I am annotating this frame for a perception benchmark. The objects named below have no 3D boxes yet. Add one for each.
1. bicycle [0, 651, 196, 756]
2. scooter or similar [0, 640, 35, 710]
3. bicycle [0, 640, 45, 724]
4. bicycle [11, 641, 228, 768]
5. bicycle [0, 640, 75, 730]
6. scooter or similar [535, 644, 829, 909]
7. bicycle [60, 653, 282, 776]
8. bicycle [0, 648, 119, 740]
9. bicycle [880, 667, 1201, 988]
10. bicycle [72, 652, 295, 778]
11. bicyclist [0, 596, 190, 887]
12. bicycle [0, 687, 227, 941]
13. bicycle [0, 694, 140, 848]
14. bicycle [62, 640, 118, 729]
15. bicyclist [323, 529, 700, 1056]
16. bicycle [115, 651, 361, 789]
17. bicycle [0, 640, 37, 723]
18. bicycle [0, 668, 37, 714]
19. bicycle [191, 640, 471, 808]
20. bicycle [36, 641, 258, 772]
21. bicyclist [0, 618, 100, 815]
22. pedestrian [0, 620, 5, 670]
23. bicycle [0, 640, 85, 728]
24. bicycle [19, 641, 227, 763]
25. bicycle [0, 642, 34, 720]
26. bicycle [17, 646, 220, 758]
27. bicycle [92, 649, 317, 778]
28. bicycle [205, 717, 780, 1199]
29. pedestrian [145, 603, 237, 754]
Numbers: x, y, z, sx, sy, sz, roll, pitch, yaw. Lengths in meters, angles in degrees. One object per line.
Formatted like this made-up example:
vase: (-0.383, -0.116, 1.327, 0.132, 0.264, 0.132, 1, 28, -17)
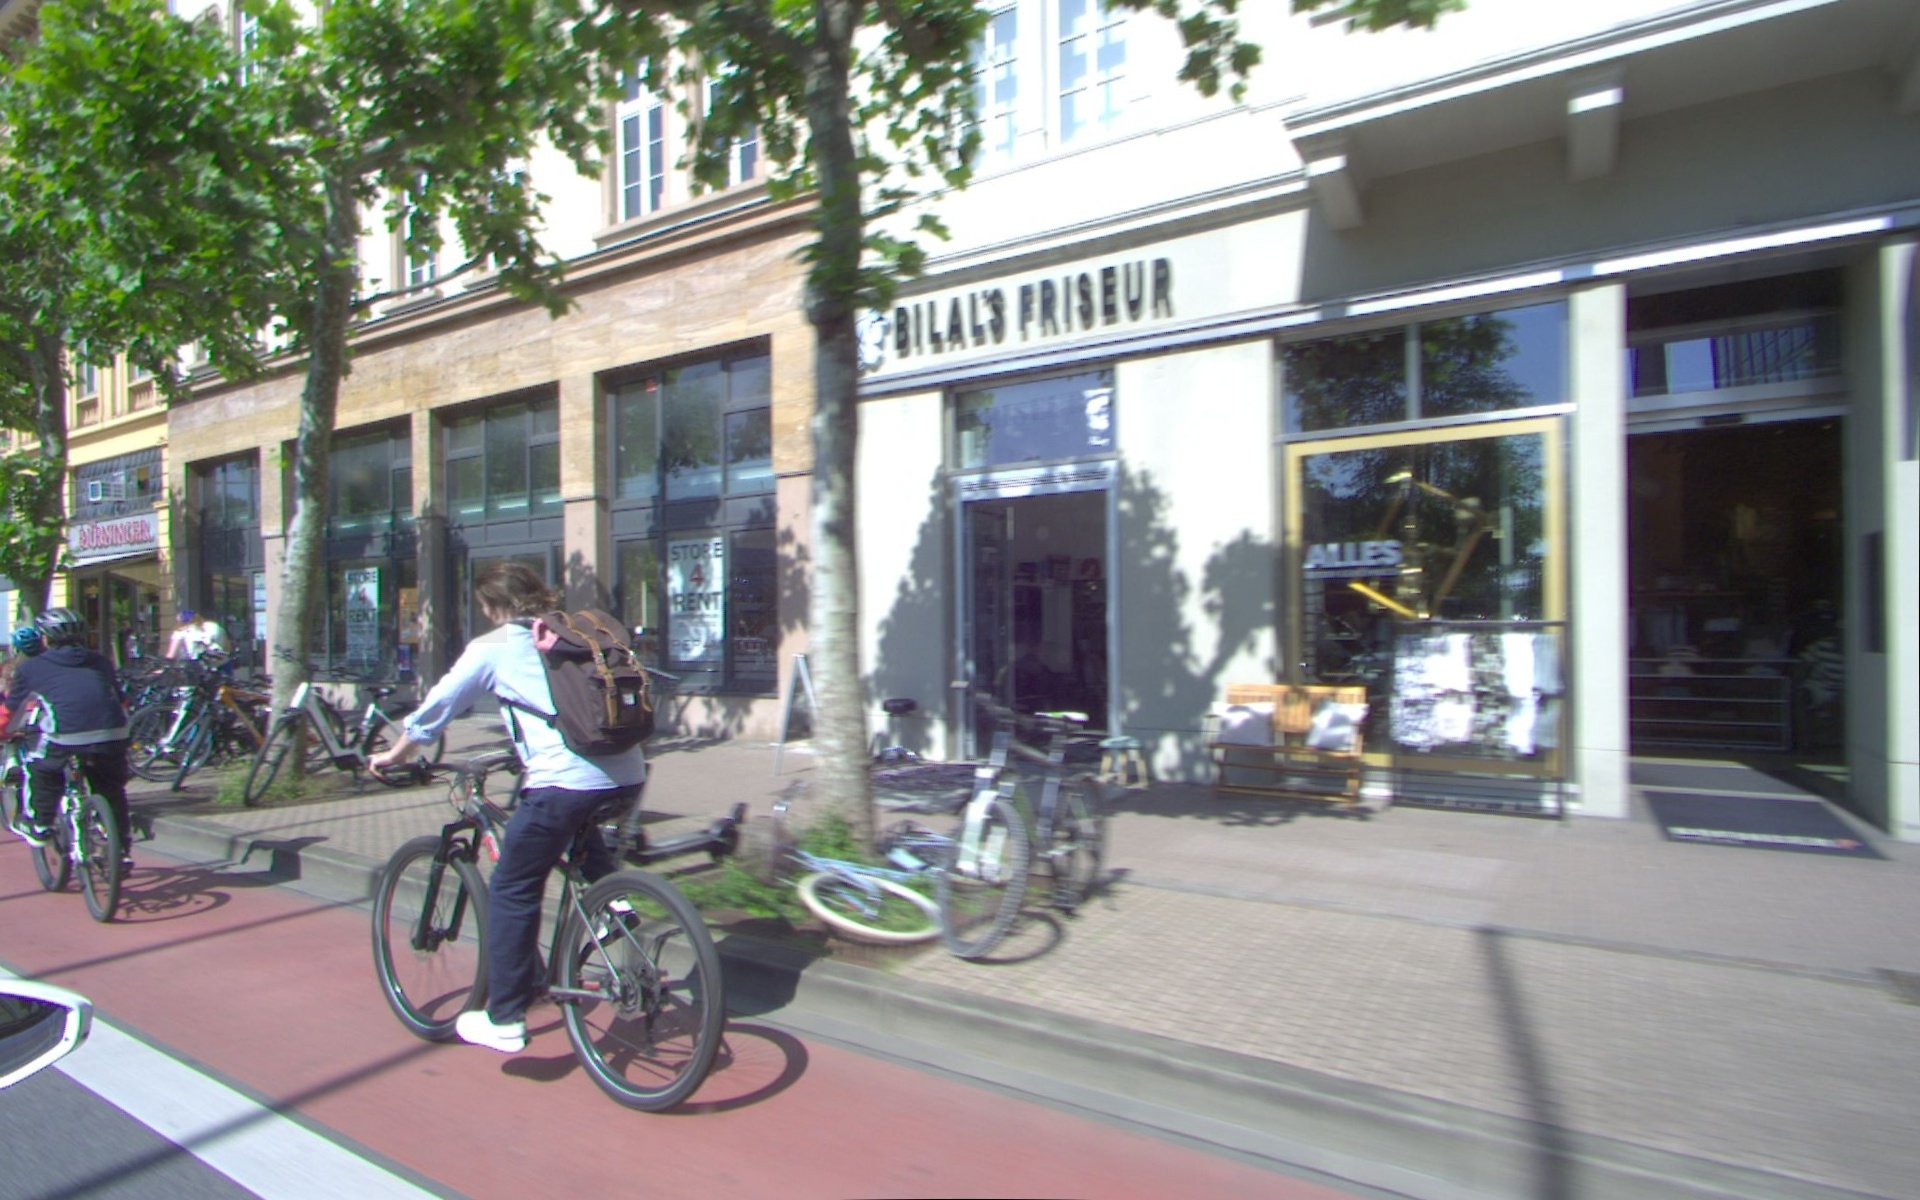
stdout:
bicycle: (-10.111, 1.165, 11.744, 0.598, 1.109, 1.724, -1, -2, 34)
scooter or similar: (-16.702, 1.285, 17.300, 1.208, 1.193, 0.422, 0, -1, 12)
bicycle: (-14.309, 1.179, 14.240, 0.537, 1.216, 1.839, -1, -2, 34)
bicycle: (-8.987, 1.071, 10.777, 0.471, 1.233, 1.724, -1, -1, 34)
bicycle: (-13.237, 1.162, 13.688, 0.468, 1.216, 1.645, -1, -1, 34)
scooter or similar: (-1.525, 0.900, 5.669, 0.663, 1.290, 1.467, -1, -3, 43)
bicycle: (-8.036, 1.121, 10.279, 0.471, 1.123, 1.724, -1, -2, 34)
bicycle: (-11.968, 1.193, 12.886, 0.598, 1.109, 1.645, -1, -2, 34)
bicycle: (0.473, 0.938, 4.801, 0.661, 1.201, 1.834, -1, -3, 37)
bicycle: (-7.705, 1.097, 10.027, 0.397, 1.123, 1.724, -1, -1, 34)
bicyclist: (-4.867, 0.731, 5.528, 0.778, 1.459, 0.698, -1, -2, 29)
bicycle: (-5.049, 1.094, 5.617, 2.050, 1.141, 0.698, -1, -2, 29)
bicycle: (-6.906, 1.208, 7.425, 2.056, 0.937, 0.599, -2, -1, 30)
bicycle: (-12.547, 1.191, 14.434, 1.637, 1.203, 0.470, -1, -2, 44)
bicyclist: (-1.477, 0.556, 3.337, 0.946, 1.464, 0.698, -1, -2, 29)
bicycle: (-6.666, 1.056, 9.335, 0.726, 1.123, 1.724, -1, -2, 34)
bicycle: (-14.710, 1.195, 14.539, 0.600, 1.216, 1.839, -1, -2, 34)
bicycle: (-16.022, 1.486, 15.999, 0.646, 0.725, 1.849, 0, -2, 11)
bicycle: (-5.364, 0.989, 8.665, 0.726, 1.264, 1.927, -1, -2, 34)
bicycle: (-8.380, 1.049, 10.400, 0.471, 1.233, 1.724, -1, -1, 34)
bicyclist: (-6.904, 0.830, 7.429, 0.710, 1.375, 0.599, -1, -1, 30)
pedestrian: (-31.135, 1.448, 32.044, 0.578, 1.589, 0.550, -1, 0, -12)
bicycle: (-13.513, 1.174, 14.015, 0.468, 1.216, 1.839, -1, -1, 34)
bicycle: (-9.297, 1.088, 11.194, 0.471, 1.233, 1.724, -1, -1, 34)
bicycle: (-15.172, 1.233, 14.973, 0.650, 1.179, 1.839, -1, -2, 34)
bicycle: (-9.643, 1.128, 11.544, 0.471, 1.177, 1.724, -1, -1, 34)
bicycle: (-7.348, 1.062, 9.829, 0.397, 1.123, 1.724, -1, -1, 34)
bicycle: (-1.649, 1.032, 3.423, 2.050, 1.141, 0.698, -1, -2, 29)
pedestrian: (-8.701, 0.863, 11.328, 0.734, 1.633, 0.613, -1, -1, 33)
